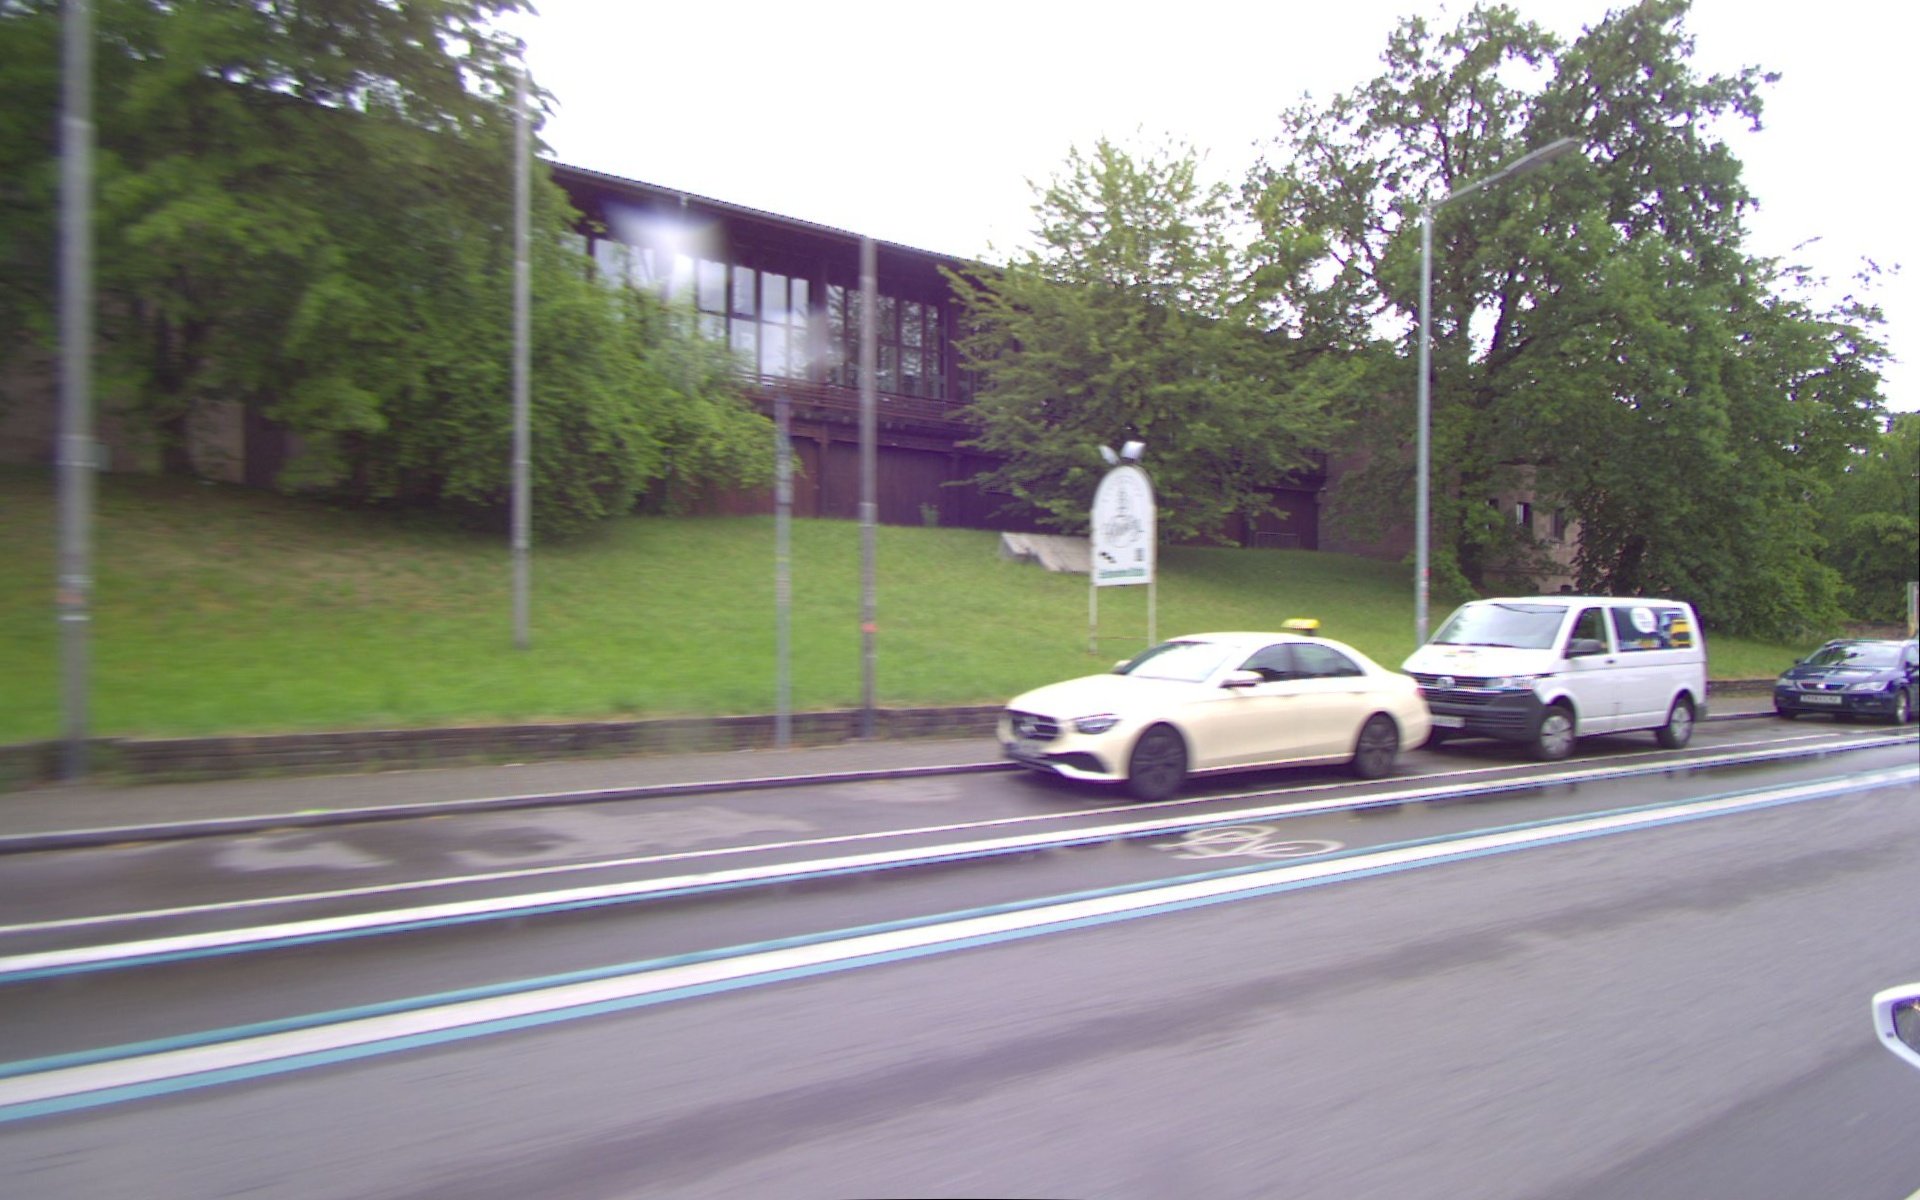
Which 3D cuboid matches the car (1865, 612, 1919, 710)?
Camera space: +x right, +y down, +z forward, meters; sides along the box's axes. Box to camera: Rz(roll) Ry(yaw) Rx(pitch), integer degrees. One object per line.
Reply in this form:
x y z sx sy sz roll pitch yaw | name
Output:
21.499 1.243 21.347 5.082 1.972 1.980 0 -1 -31 | car

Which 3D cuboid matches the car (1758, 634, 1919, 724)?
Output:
16.812 1.385 18.667 4.320 1.409 1.722 0 -1 -31 | car

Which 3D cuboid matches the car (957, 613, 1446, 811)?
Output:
2.583 0.974 10.379 4.925 1.627 1.981 1 -1 -30 | car

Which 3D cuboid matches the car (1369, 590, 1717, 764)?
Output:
7.814 0.888 13.342 4.871 1.957 1.903 0 -1 -31 | car
